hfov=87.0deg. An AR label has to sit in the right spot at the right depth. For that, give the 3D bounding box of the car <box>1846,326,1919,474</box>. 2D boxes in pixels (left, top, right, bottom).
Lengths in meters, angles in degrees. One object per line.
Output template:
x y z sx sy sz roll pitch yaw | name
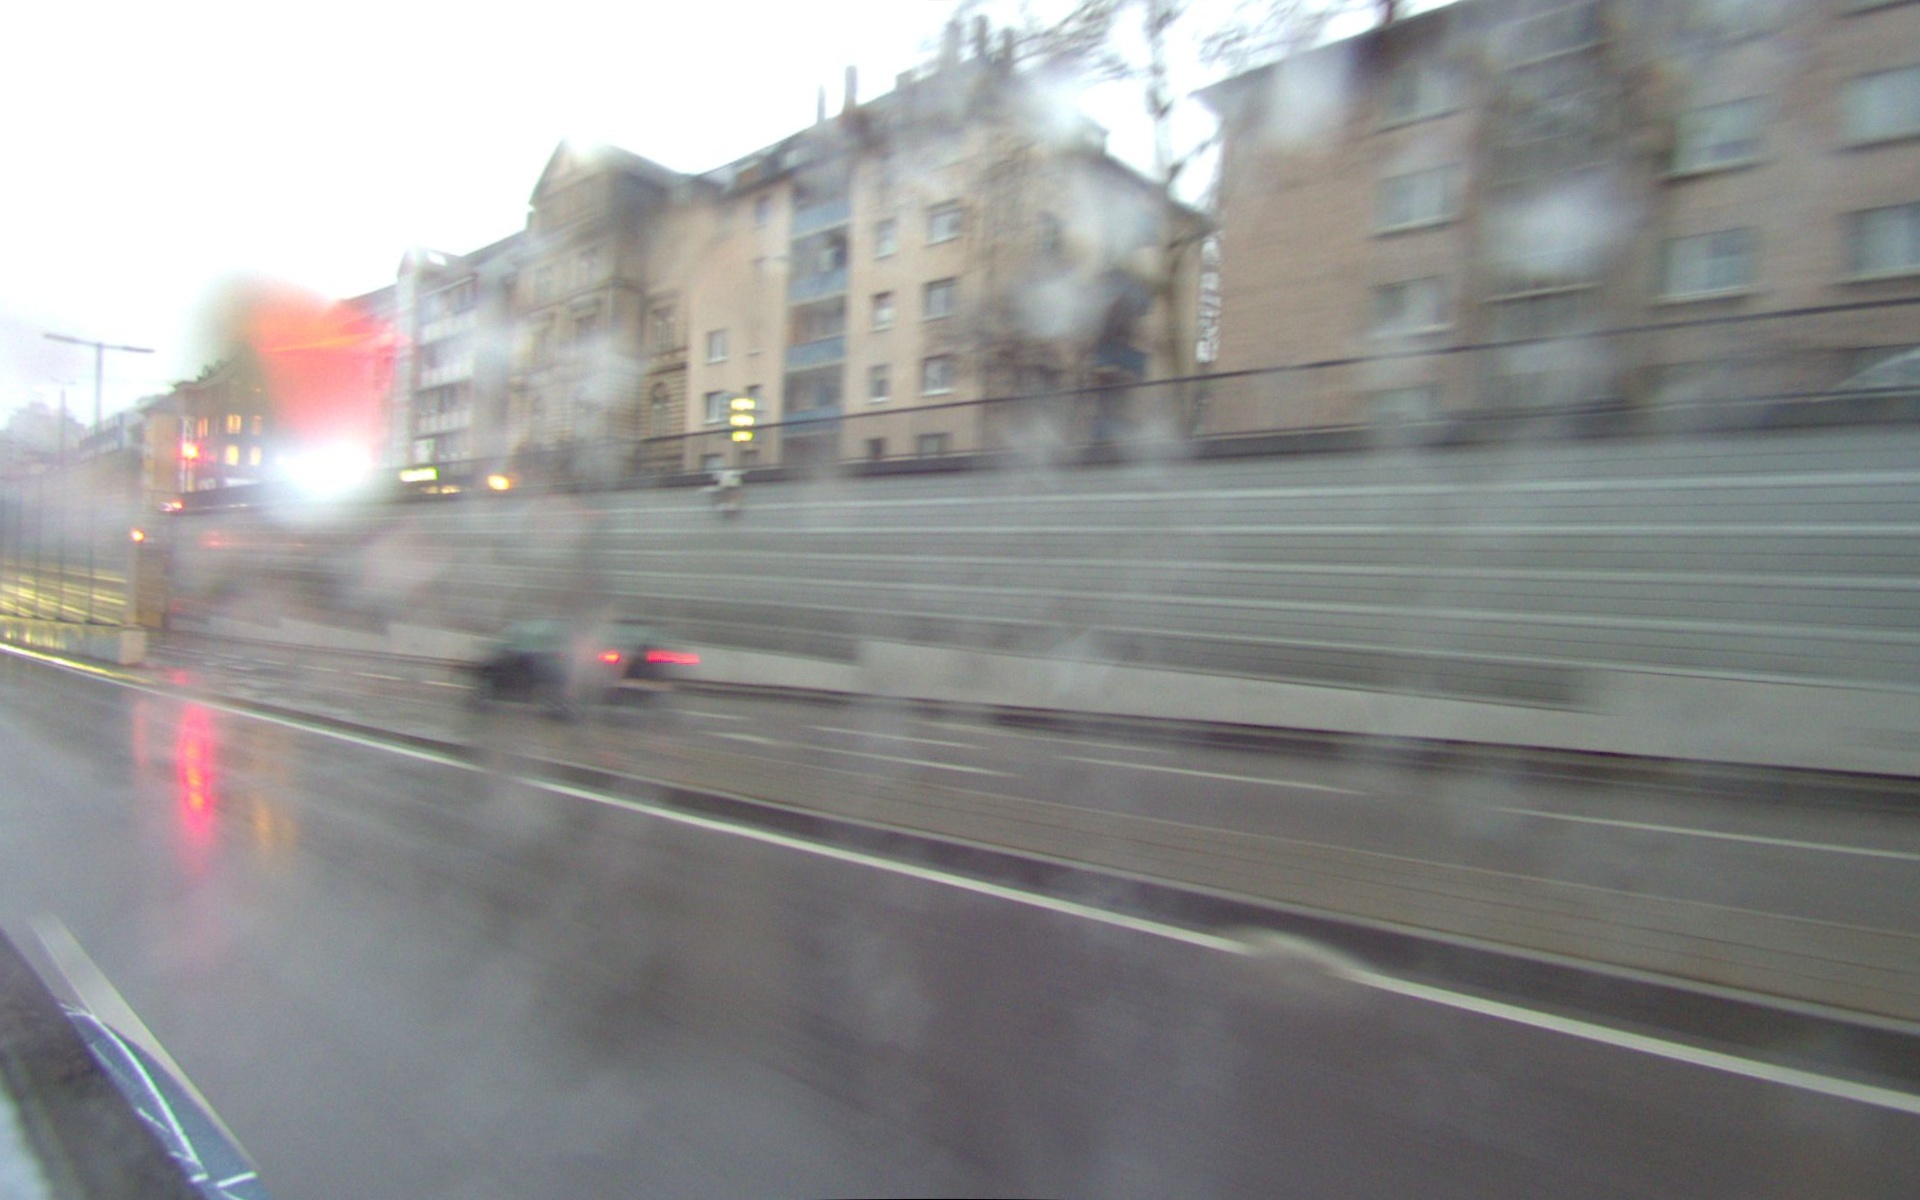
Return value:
12.046 -2.294 11.131 3.404 1.408 1.549 2 -2 41 | car

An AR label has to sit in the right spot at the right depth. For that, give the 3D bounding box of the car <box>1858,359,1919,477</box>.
15.617 -2.740 14.628 3.877 1.484 1.549 2 -2 41 | car

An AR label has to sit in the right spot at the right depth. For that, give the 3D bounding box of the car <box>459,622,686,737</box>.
-5.764 1.068 14.884 3.684 1.482 1.555 -1 -2 41 | car
